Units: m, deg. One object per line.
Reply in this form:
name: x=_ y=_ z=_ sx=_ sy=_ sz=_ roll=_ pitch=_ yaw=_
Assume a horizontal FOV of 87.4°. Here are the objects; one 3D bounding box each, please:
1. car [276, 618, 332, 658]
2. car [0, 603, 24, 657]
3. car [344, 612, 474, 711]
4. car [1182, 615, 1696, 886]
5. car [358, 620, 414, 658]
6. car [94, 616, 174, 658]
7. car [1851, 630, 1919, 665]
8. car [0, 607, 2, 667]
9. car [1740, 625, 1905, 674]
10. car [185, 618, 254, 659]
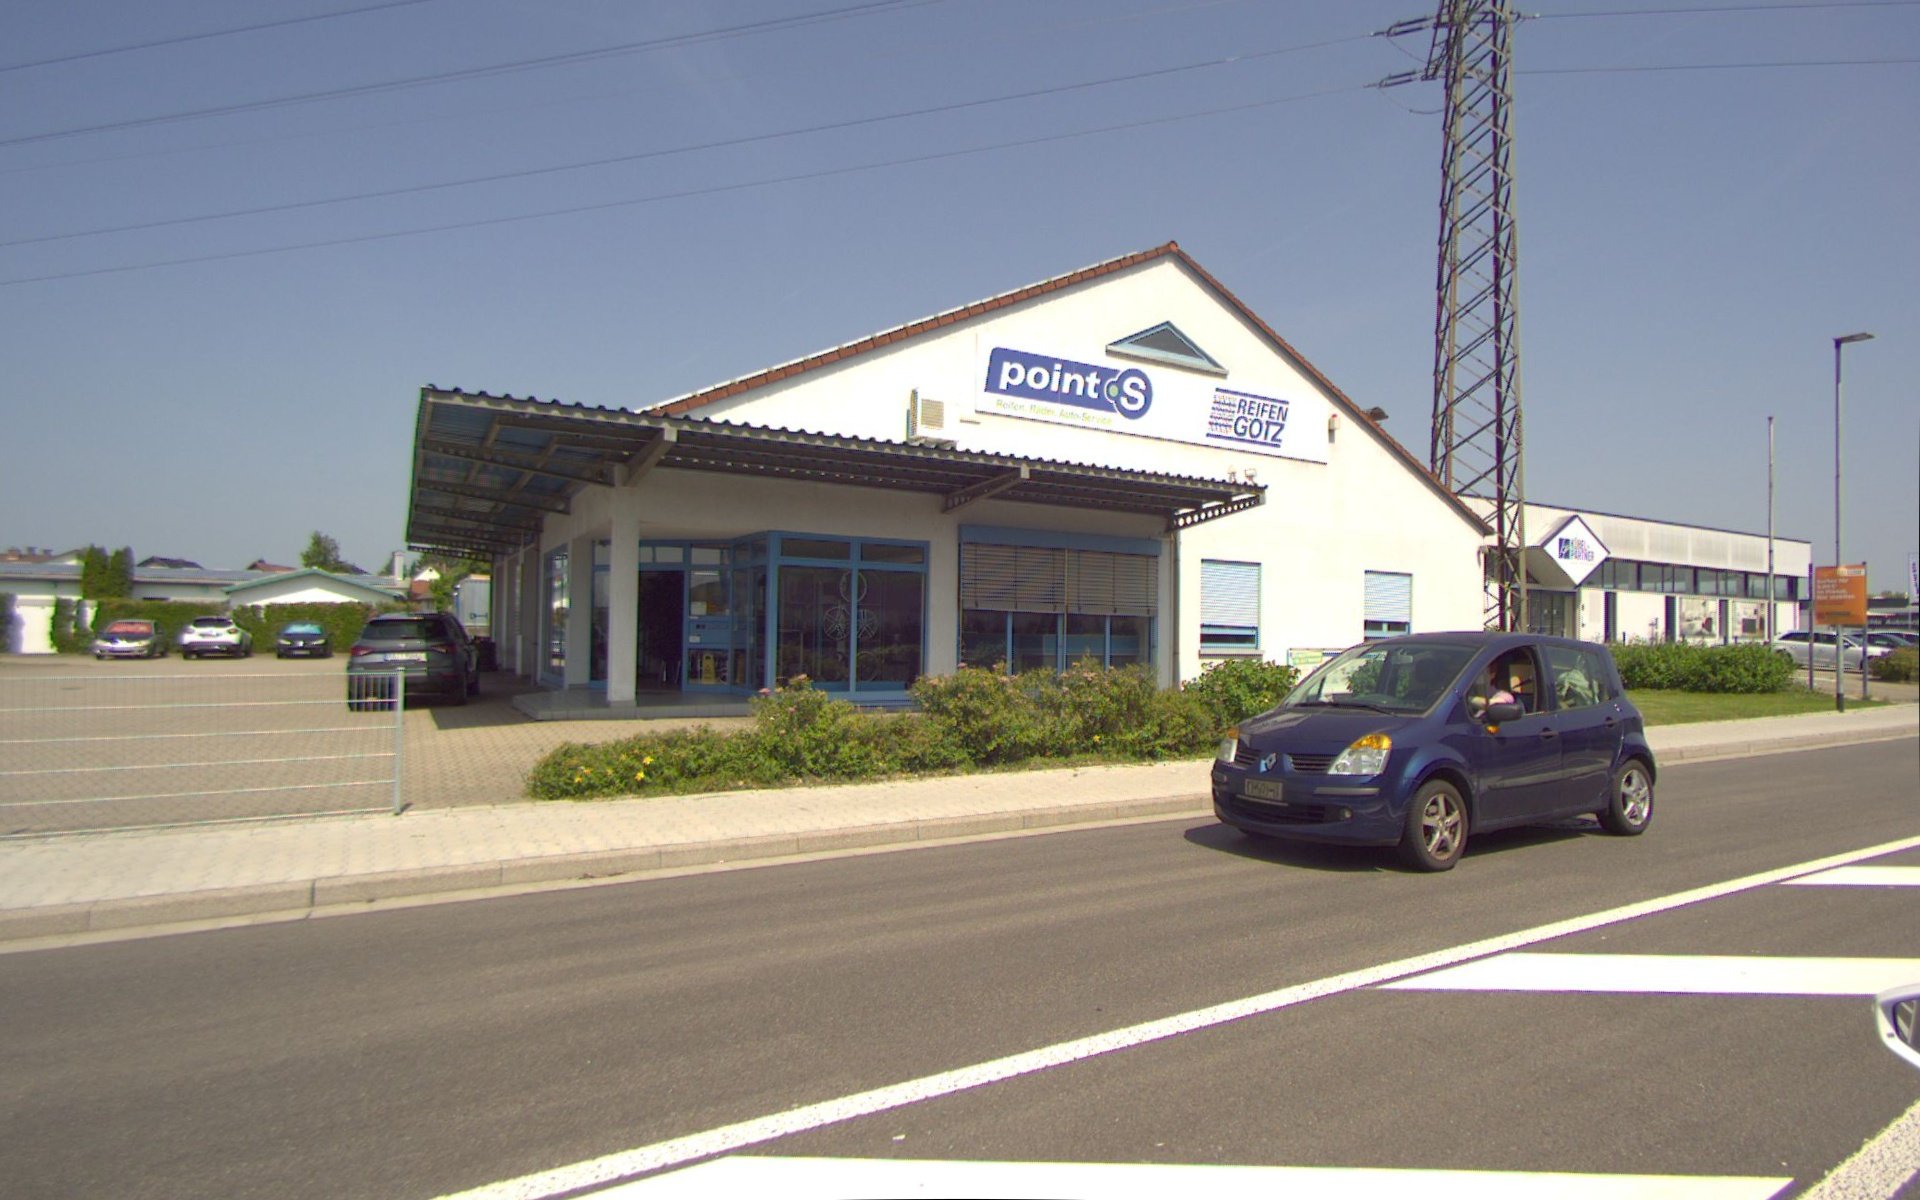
car: x=-25.740 y=1.489 z=39.506 sx=1.765 sy=1.467 sz=3.965 roll=1 pitch=-2 yaw=-32
car: x=-30.939 y=0.895 z=29.895 sx=4.144 sy=1.635 sz=1.770 roll=1 pitch=-2 yaw=-30
car: x=-9.448 y=1.018 z=17.472 sx=1.761 sy=1.505 sz=3.974 roll=1 pitch=-2 yaw=-26
car: x=3.761 y=0.993 z=7.762 sx=3.926 sy=1.621 sz=1.661 roll=2 pitch=-4 yaw=-30
car: x=-23.322 y=1.568 z=40.746 sx=1.765 sy=1.467 sz=3.965 roll=1 pitch=-2 yaw=-32
car: x=-30.519 y=1.384 z=37.235 sx=1.765 sy=1.467 sz=3.965 roll=1 pitch=-2 yaw=-32
car: x=38.937 y=1.965 z=41.051 sx=1.487 sy=1.271 sz=3.491 roll=1 pitch=1 yaw=-31
car: x=-27.205 y=0.930 z=25.271 sx=4.144 sy=1.635 sz=1.770 roll=1 pitch=-2 yaw=-30
car: x=31.299 y=1.766 z=36.578 sx=1.744 sy=1.475 sz=4.202 roll=1 pitch=1 yaw=-31
car: x=-28.054 y=1.459 z=38.155 sx=1.765 sy=1.467 sz=3.965 roll=1 pitch=-2 yaw=-32
